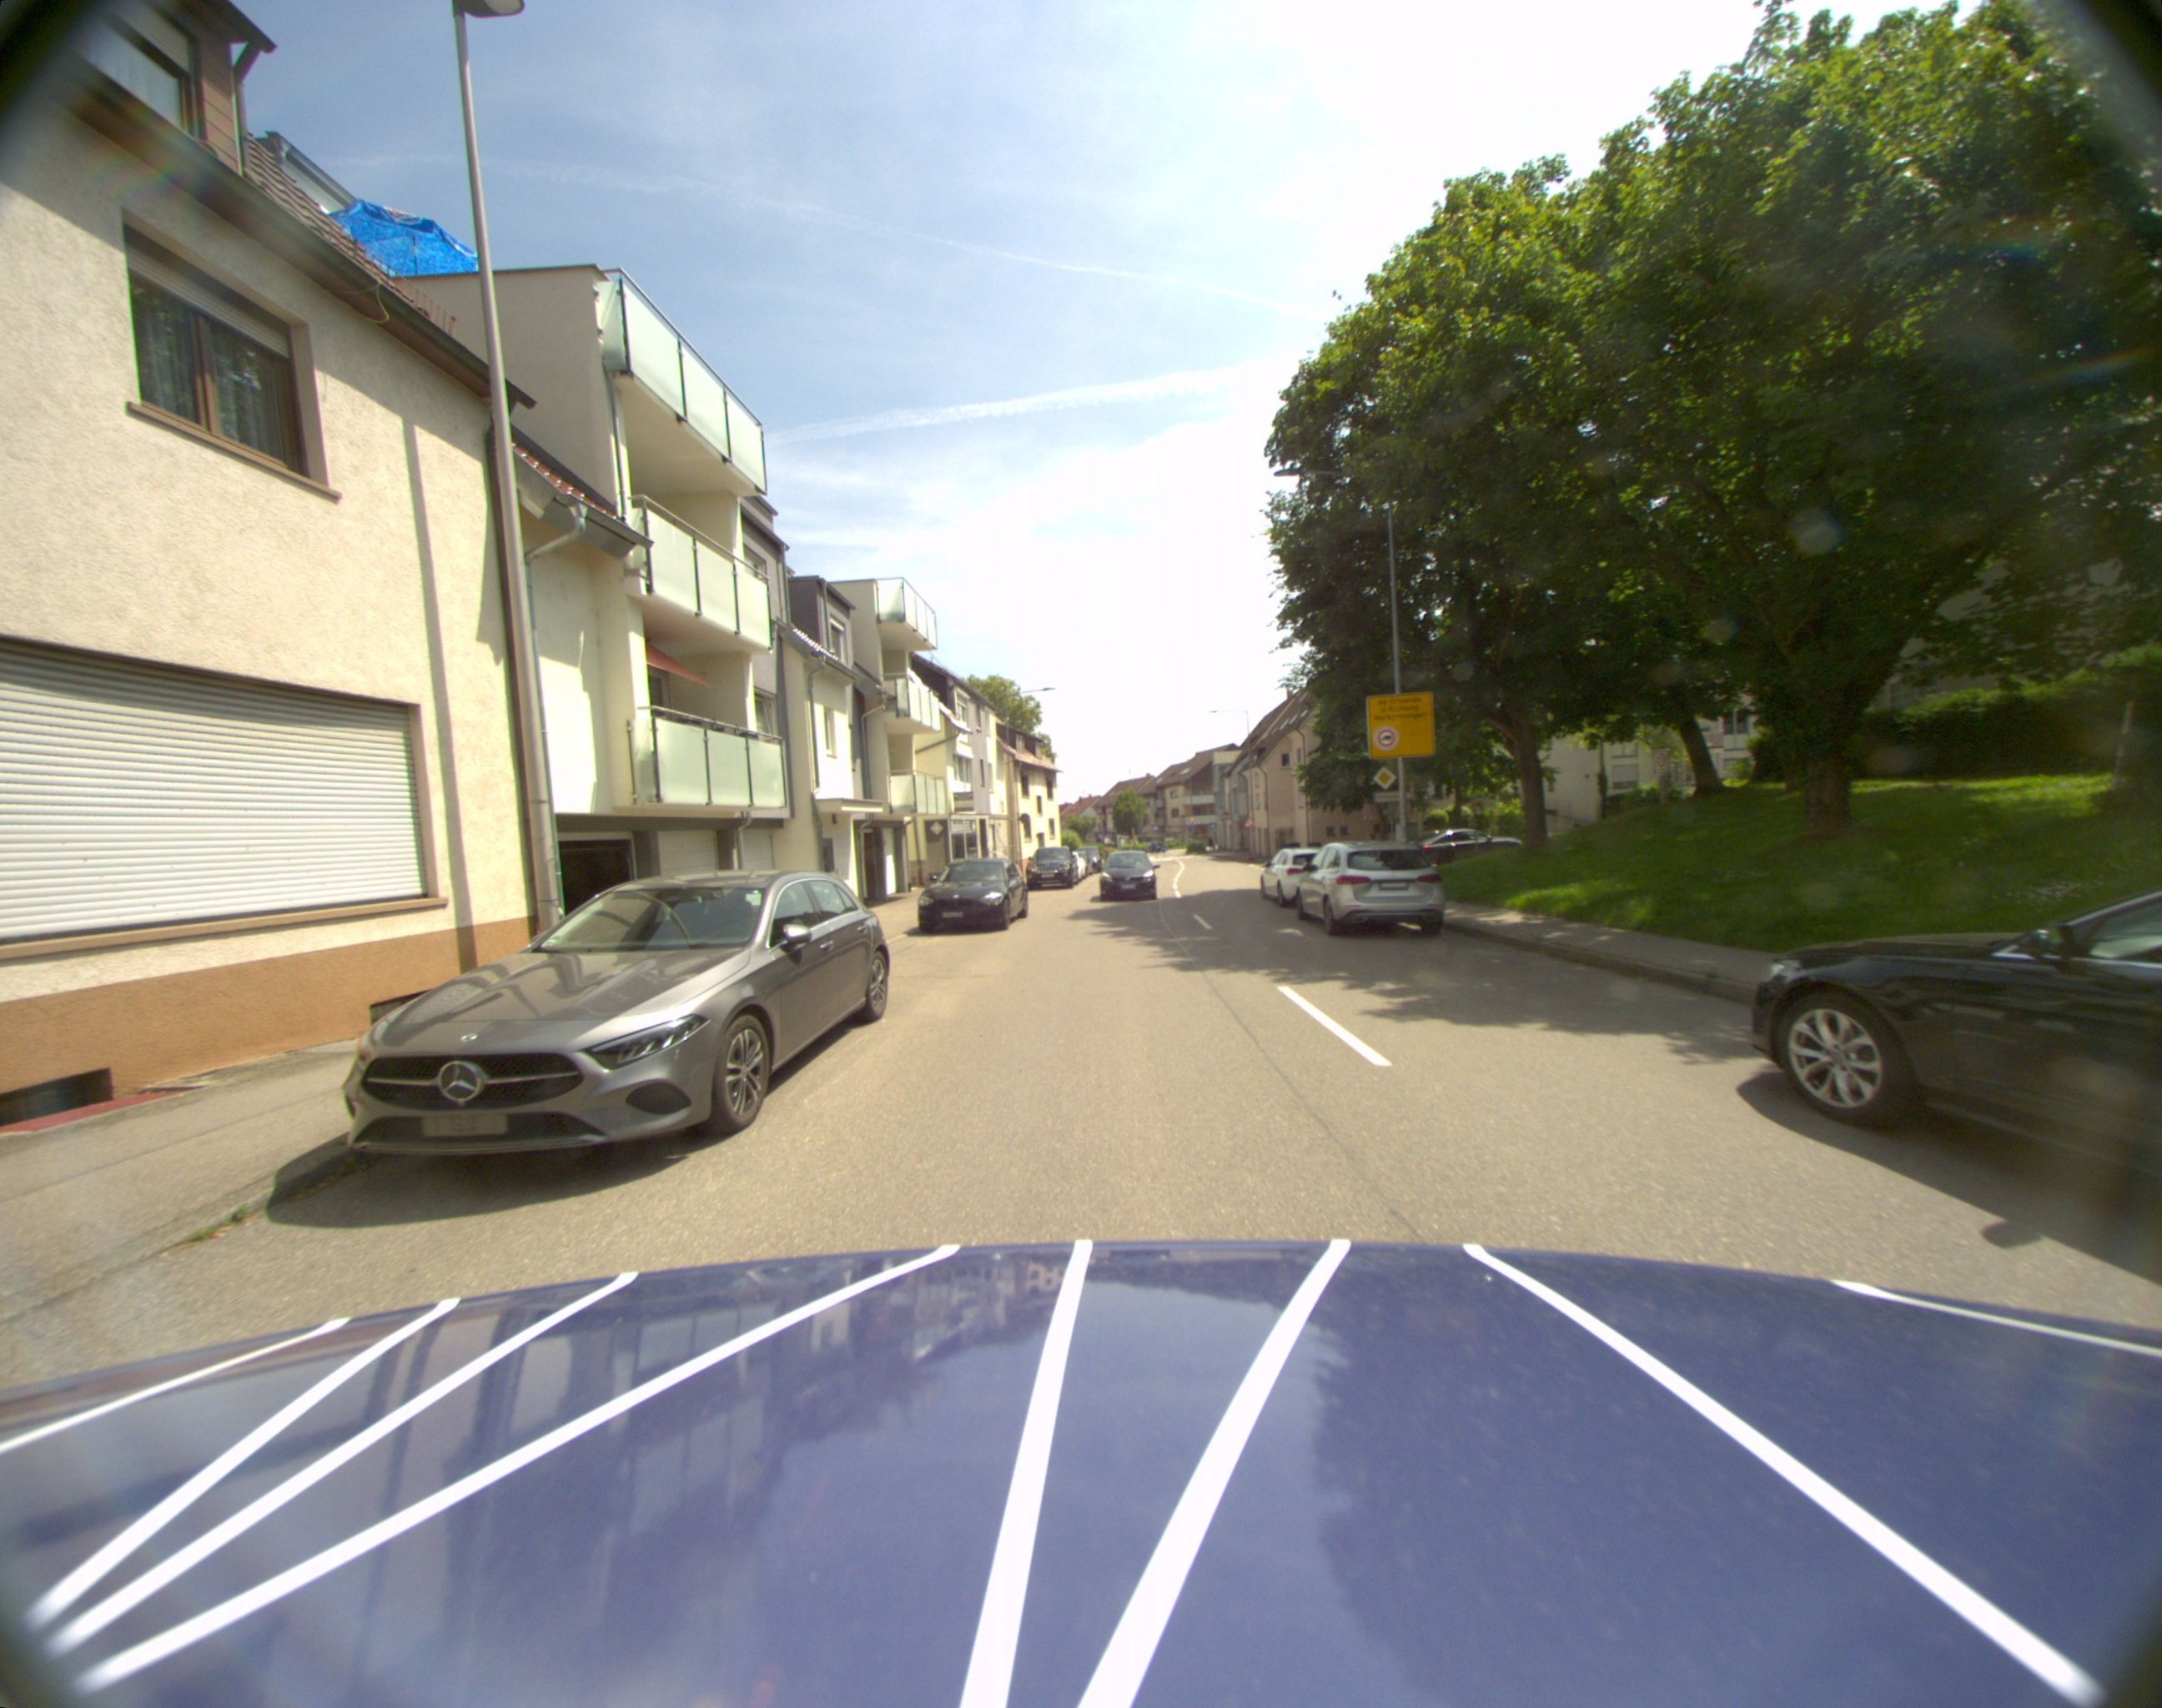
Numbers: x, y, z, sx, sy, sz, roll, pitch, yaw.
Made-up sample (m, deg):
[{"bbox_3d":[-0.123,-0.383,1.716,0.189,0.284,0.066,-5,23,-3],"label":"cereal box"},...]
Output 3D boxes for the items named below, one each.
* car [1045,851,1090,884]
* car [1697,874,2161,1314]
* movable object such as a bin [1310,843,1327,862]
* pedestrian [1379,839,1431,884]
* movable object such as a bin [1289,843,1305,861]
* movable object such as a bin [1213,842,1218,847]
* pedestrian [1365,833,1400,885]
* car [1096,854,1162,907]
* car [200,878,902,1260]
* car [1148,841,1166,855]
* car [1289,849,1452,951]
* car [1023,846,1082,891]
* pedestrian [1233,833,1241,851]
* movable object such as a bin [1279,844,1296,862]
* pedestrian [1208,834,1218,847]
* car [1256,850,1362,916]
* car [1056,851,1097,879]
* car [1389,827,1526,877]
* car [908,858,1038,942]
[{"bbox_3d":[-0.623,0.645,38.158,1.793,1.447,4.717,-2,1,4],"label":"car"},{"bbox_3d":[4.606,0.857,2.185,1.809,1.415,4.928,-2,0,3],"label":"car"},{"bbox_3d":[13.474,-0.086,43.085,0.773,0.995,0.609,-7,3,9],"label":"movable object such as a bin"},{"bbox_3d":[9.786,0.211,22.981,1.238,1.262,0.647,-4,2,10],"label":"pedestrian"},{"bbox_3d":[13.069,-0.143,45.989,0.802,0.994,0.805,-5,1,8],"label":"movable object such as a bin"},{"bbox_3d":[14.716,-1.053,83.149,0.459,0.578,0.468,-4,1,-3],"label":"movable object such as a bin"},{"bbox_3d":[9.777,0.146,24.641,0.733,1.607,0.628,-4,2,-14],"label":"pedestrian"},{"bbox_3d":[1.404,0.754,23.757,1.725,1.448,4.429,-2,0,-1],"label":"car"},{"bbox_3d":[-2.738,0.979,5.391,1.798,1.395,4.411,-1,1,1],"label":"car"},{"bbox_3d":[9.652,-0.784,96.703,1.756,1.575,3.944,-4,1,-1],"label":"car"},{"bbox_3d":[5.011,0.702,13.770,1.776,1.518,4.223,-1,1,7],"label":"car"},{"bbox_3d":[-1.126,0.542,32.272,1.958,1.706,4.717,-2,1,4],"label":"car"},{"bbox_3d":[15.200,-1.196,74.030,0.576,1.699,0.579,-5,2,7],"label":"pedestrian"},{"bbox_3d":[12.432,-0.078,45.805,0.853,0.995,0.694,-3,2,8],"label":"movable object such as a bin"},{"bbox_3d":[14.496,-1.483,83.481,0.802,1.470,0.956,-4,2,-4],"label":"pedestrian"},{"bbox_3d":[5.735,0.650,19.634,1.758,1.458,4.364,-1,1,5],"label":"car"},{"bbox_3d":[-0.211,0.599,43.343,1.792,1.412,4.359,-2,1,6],"label":"car"},{"bbox_3d":[15.434,-0.098,31.203,4.791,1.471,1.998,-6,2,-13],"label":"car"},{"bbox_3d":[-2.137,0.874,16.259,1.801,1.416,4.290,-2,1,5],"label":"car"}]
